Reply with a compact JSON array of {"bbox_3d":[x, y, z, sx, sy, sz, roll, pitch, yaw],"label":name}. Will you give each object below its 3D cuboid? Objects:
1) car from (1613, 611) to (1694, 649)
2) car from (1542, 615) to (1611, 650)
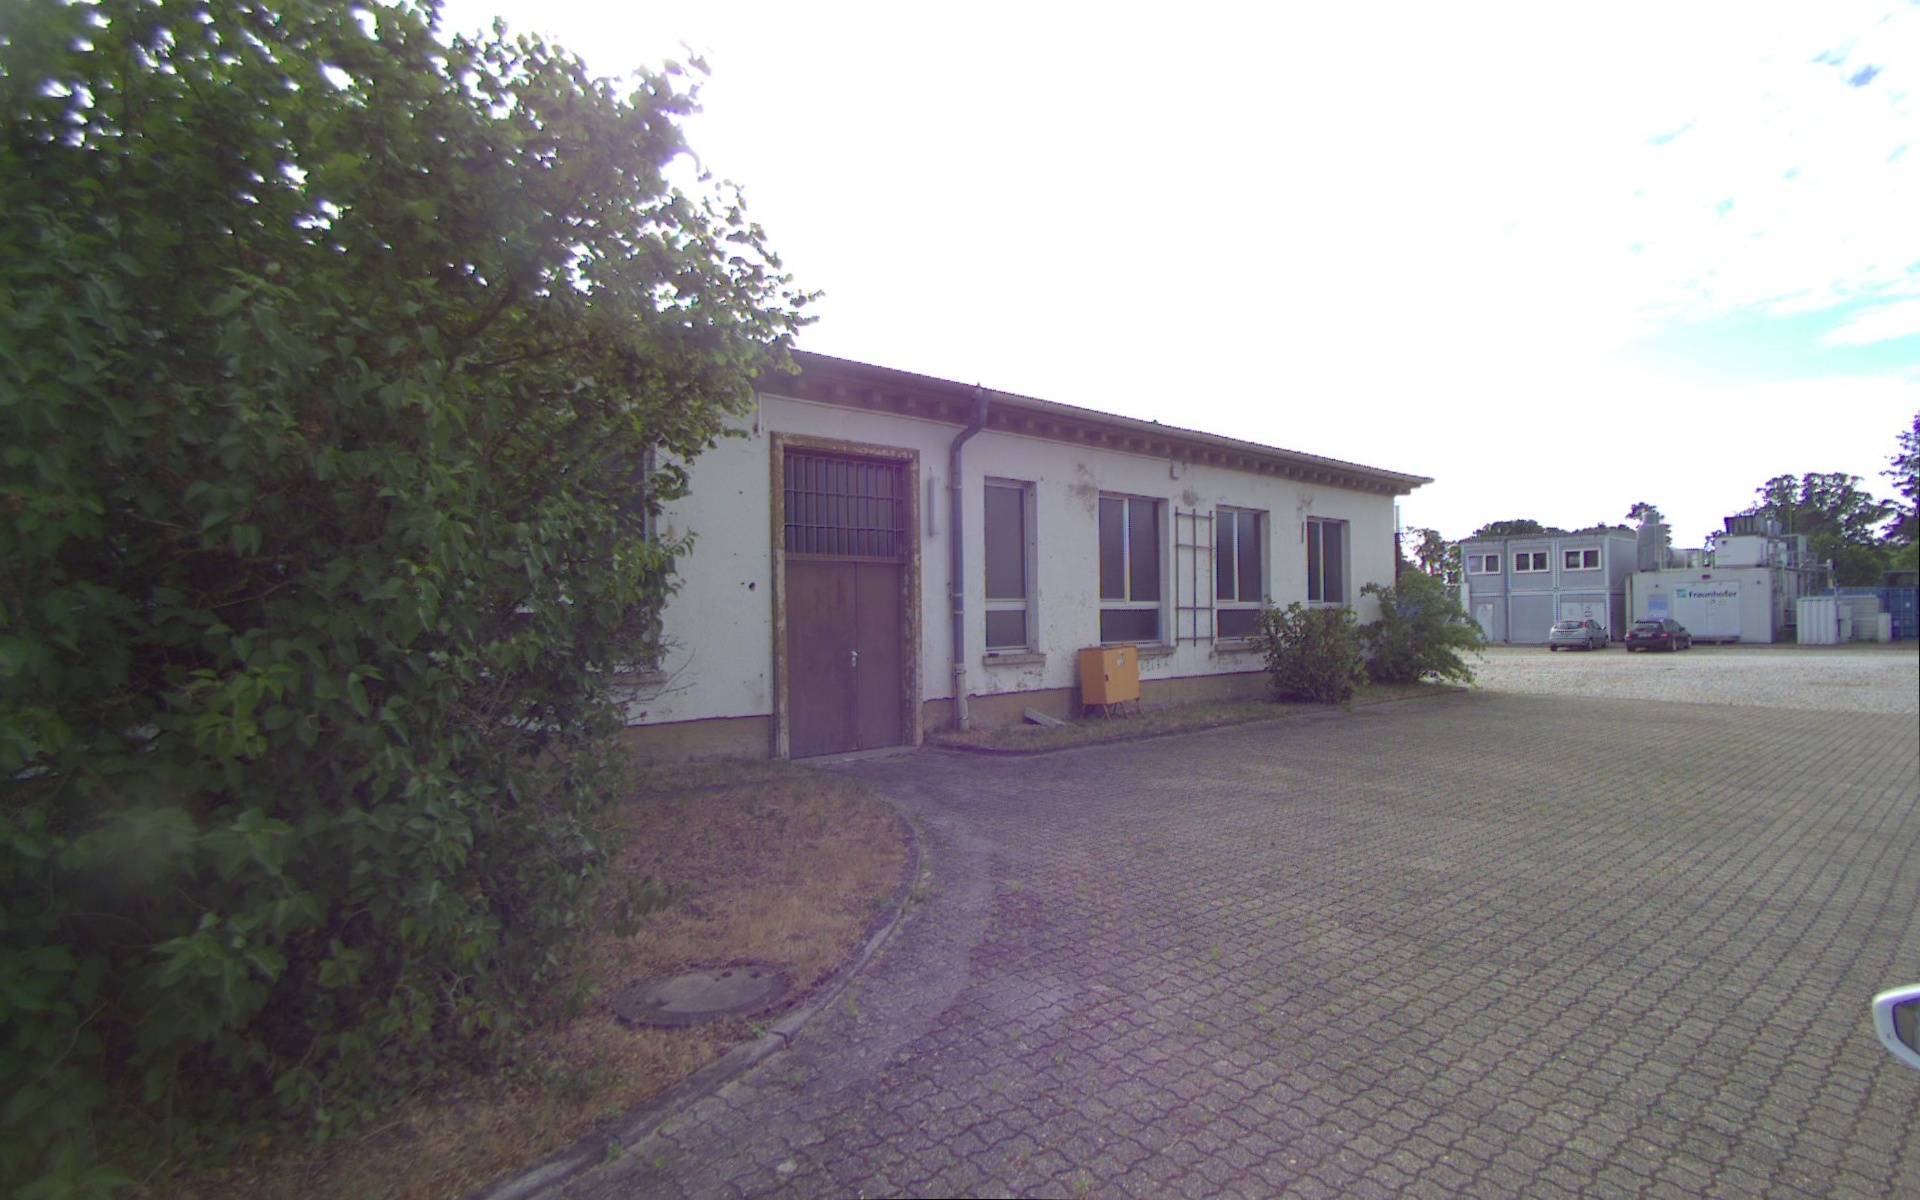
[{"bbox_3d":[31.344,1.337,45.350,4.496,1.472,2.018,-2,0,-43],"label":"car"},{"bbox_3d":[29.425,1.544,47.906,4.019,1.495,1.888,-2,-1,-45],"label":"car"}]
